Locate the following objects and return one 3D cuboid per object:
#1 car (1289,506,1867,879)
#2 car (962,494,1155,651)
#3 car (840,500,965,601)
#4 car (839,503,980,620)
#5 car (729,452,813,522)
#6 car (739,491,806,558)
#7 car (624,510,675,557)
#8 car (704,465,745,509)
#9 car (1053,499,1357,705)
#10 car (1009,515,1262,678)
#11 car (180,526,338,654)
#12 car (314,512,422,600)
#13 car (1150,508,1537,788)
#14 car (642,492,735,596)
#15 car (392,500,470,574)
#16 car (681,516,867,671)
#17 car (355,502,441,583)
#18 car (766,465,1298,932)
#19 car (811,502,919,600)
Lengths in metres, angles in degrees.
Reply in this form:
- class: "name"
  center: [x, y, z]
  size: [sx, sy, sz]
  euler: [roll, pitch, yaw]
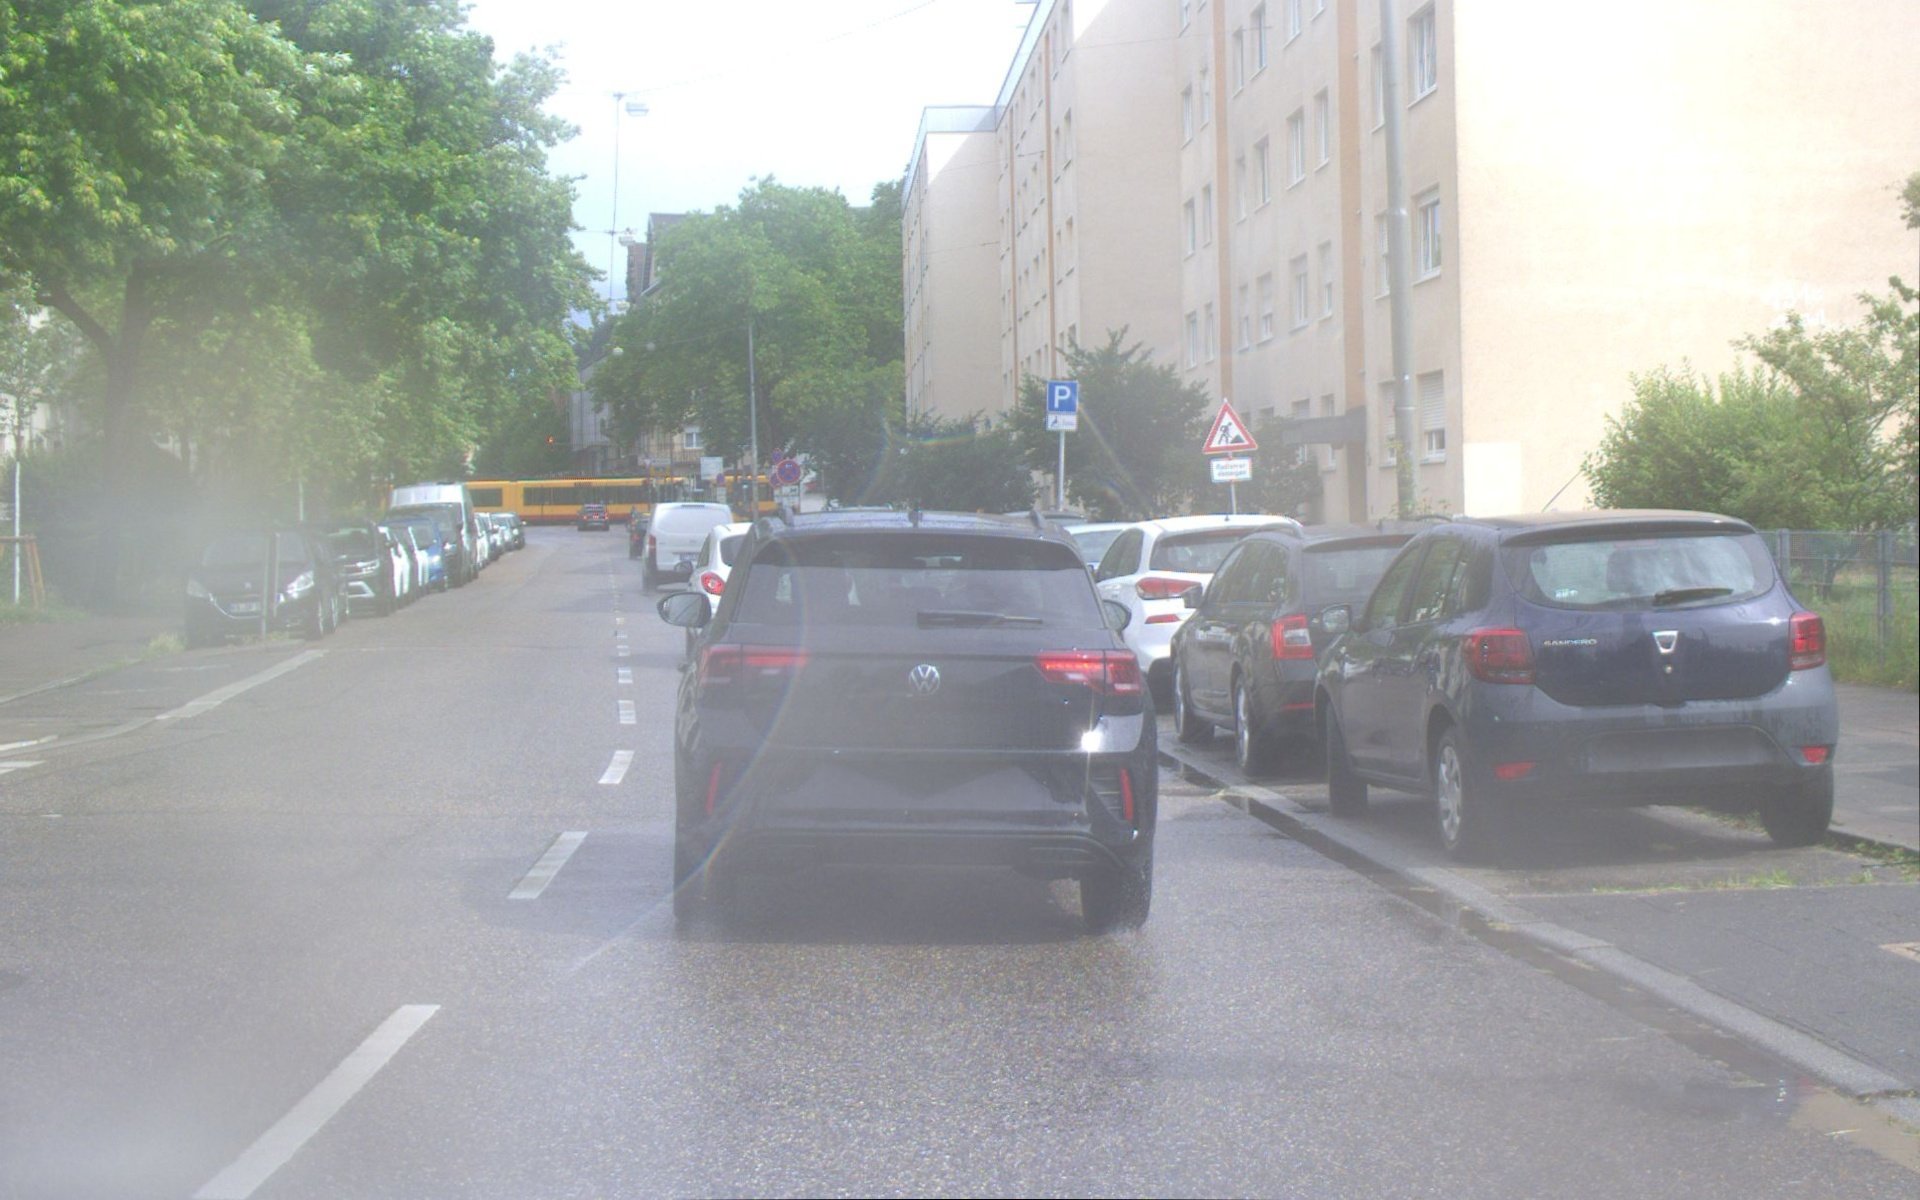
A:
- class: "car"
  center: [2.816, 0.354, 16.562]
  size: [1.756, 1.522, 4.001]
  euler: [-2, 1, -4]
- class: "car"
  center: [1.054, -0.348, 38.781]
  size: [1.604, 1.655, 4.033]
  euler: [0, 2, -7]
- class: "car"
  center: [-0.953, -0.815, 55.044]
  size: [1.604, 1.500, 4.033]
  euler: [-2, 2, -6]
- class: "car"
  center: [-0.761, -0.582, 49.031]
  size: [1.695, 1.533, 4.033]
  euler: [-2, 2, -5]
- class: "car"
  center: [-4.575, -2.744, 83.697]
  size: [1.841, 1.602, 3.676]
  euler: [-3, 2, -1]
- class: "car"
  center: [-5.256, -2.111, 95.897]
  size: [1.604, 1.759, 4.033]
  euler: [-2, 2, -6]
- class: "car"
  center: [-10.577, -2.274, 117.026]
  size: [1.604, 1.504, 3.549]
  euler: [-2, 2, -6]
- class: "car"
  center: [-10.069, -4.814, 146.631]
  size: [1.665, 1.831, 4.001]
  euler: [-2, 2, -4]
- class: "car"
  center: [1.891, -0.045, 27.736]
  size: [1.748, 1.503, 4.113]
  euler: [-1, 2, -6]
- class: "car"
  center: [1.599, -0.083, 32.809]
  size: [1.716, 1.447, 4.260]
  euler: [0, 1, -7]
- class: "car"
  center: [-9.008, -0.169, 44.408]
  size: [1.585, 1.500, 4.066]
  euler: [-2, 2, -7]
- class: "car"
  center: [-10.319, -0.795, 60.074]
  size: [1.585, 1.413, 3.921]
  euler: [-2, 2, -7]
- class: "car"
  center: [2.304, 0.234, 21.678]
  size: [1.604, 1.503, 4.161]
  euler: [-3, 1, -4]
- class: "car"
  center: [-5.674, -1.168, 72.188]
  size: [1.836, 2.095, 4.001]
  euler: [1, 1, -3]
- class: "car"
  center: [-12.304, -1.482, 80.122]
  size: [1.585, 1.633, 3.921]
  euler: [-2, 2, -7]
- class: "car"
  center: [-1.904, -0.088, 35.840]
  size: [1.813, 1.498, 4.000]
  euler: [1, 1, -2]
- class: "car"
  center: [-12.136, -1.267, 74.343]
  size: [1.585, 1.633, 3.921]
  euler: [-2, 2, -7]
- class: "car"
  center: [0.180, 0.320, 14.238]
  size: [1.873, 1.640, 4.062]
  euler: [1, 1, -2]
- class: "car"
  center: [-1.764, -0.920, 62.753]
  size: [1.604, 1.666, 4.033]
  euler: [-2, 2, -6]
